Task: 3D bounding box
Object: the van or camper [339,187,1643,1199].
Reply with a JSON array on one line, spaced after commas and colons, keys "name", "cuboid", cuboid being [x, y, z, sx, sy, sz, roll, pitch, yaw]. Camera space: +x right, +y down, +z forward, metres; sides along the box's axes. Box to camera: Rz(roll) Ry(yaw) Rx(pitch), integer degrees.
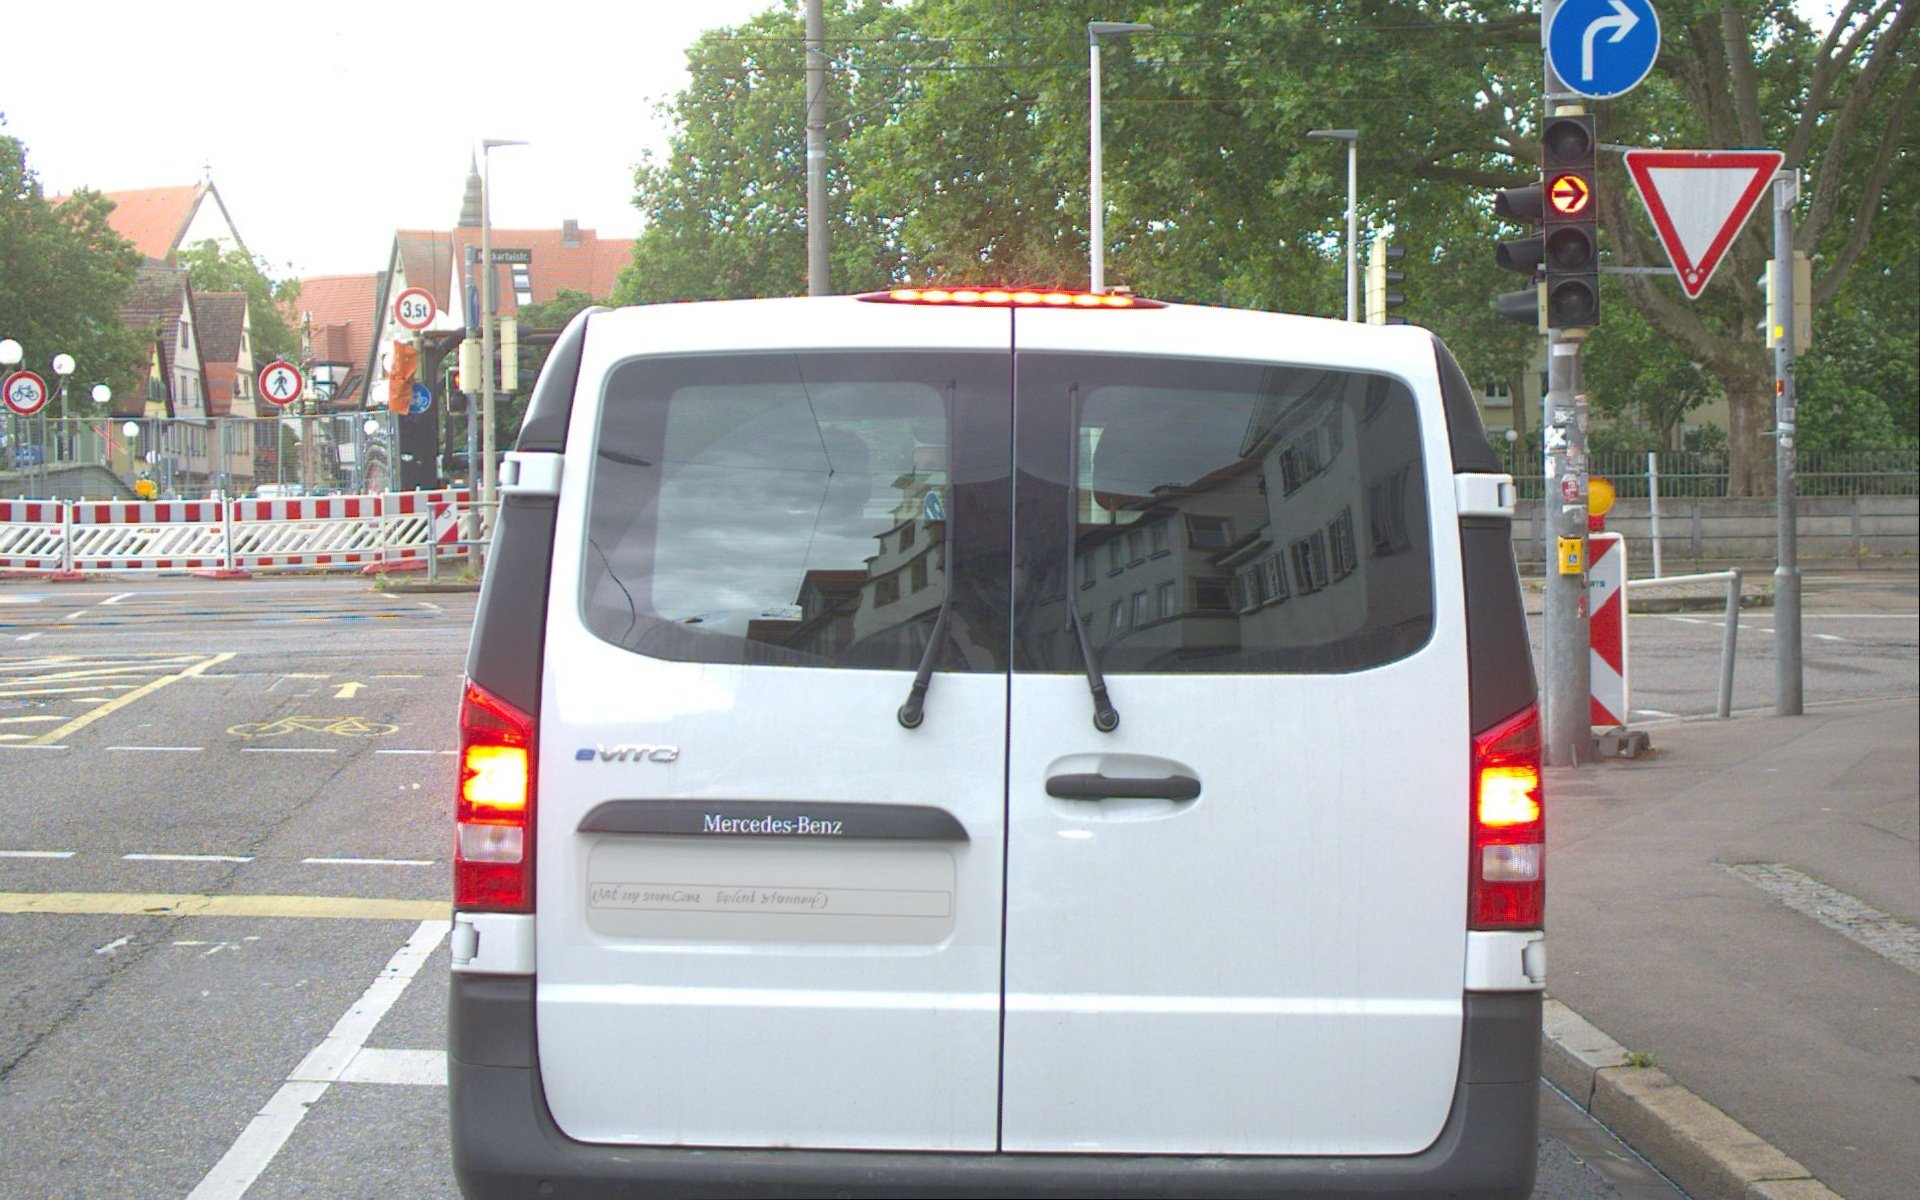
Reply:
[{"name": "van or camper", "cuboid": [-0.065, 0.270, 7.403, 1.937, 1.918, 4.442, 1, 2, -3]}]
